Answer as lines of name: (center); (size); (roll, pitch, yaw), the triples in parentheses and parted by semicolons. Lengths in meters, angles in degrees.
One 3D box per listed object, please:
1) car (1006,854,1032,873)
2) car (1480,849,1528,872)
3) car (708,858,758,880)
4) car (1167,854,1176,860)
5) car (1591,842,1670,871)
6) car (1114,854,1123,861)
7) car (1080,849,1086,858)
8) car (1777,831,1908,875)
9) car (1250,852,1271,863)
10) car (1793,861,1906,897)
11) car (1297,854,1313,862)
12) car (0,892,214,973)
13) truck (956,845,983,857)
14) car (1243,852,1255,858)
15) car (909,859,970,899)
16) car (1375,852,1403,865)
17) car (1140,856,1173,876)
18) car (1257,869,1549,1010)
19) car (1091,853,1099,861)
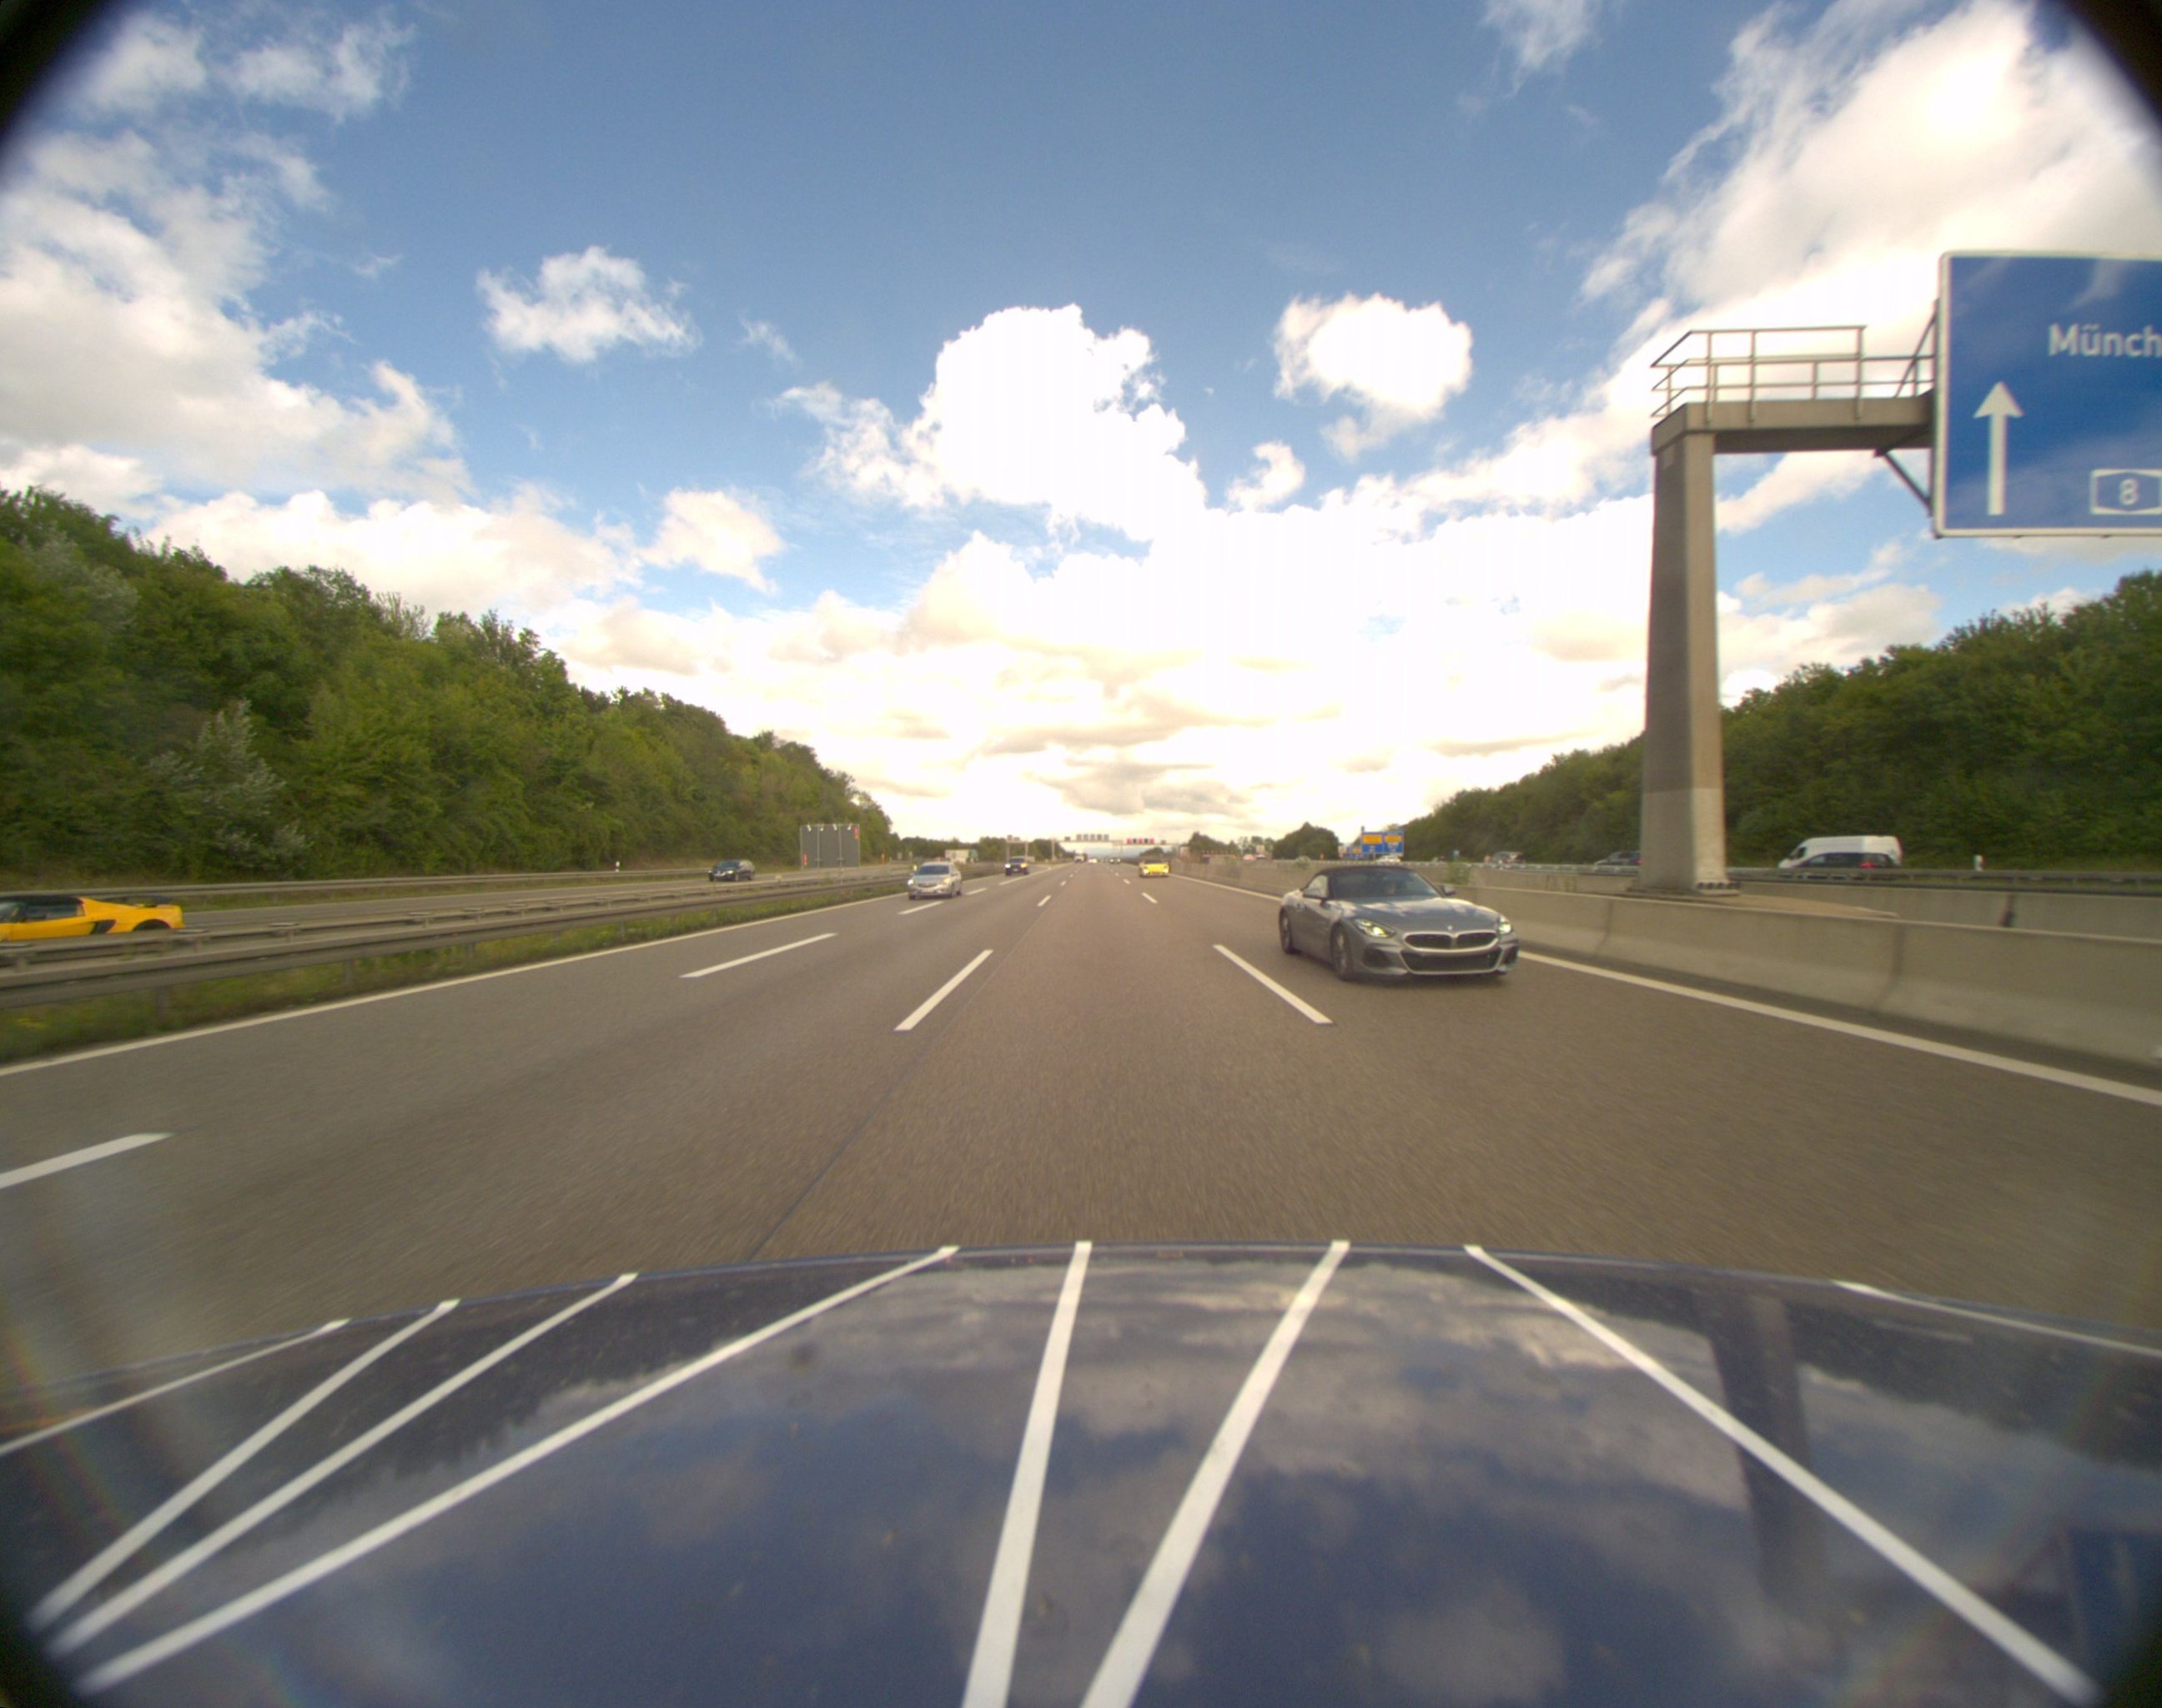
car: (-5.727, 0.812, 70.177); (1.876, 1.626, 4.859); (-1, 0, 1)
car: (38.796, 0.566, 69.800); (1.998, 2.002, 4.344); (-2, 0, 1)
car: (-23.859, 0.971, 52.190); (1.717, 1.407, 4.167); (-1, 0, -4)
car: (19.696, 0.720, 165.441); (1.647, 1.307, 4.247); (1, 0, 0)
car: (34.611, 0.137, 48.001); (1.856, 1.719, 4.426); (0, 0, 1)
car: (7.210, 0.662, 146.125); (1.593, 1.307, 3.978); (1, 0, 0)
car: (0.726, -0.169, 230.684); (1.854, 2.565, 5.412); (0, 0, 1)
car: (43.254, -0.067, 43.406); (1.998, 2.301, 5.685); (0, 0, 3)
car: (21.729, 0.377, 92.143); (1.647, 1.307, 4.247); (0, 0, 0)
car: (38.533, 1.214, 38.257); (1.662, 1.637, 4.000); (0, 0, 0)
car: (40.055, 0.717, 135.788); (1.647, 1.307, 4.247); (0, 0, 0)
car: (-18.392, 1.372, 13.244); (1.716, 1.175, 4.168); (-2, 0, 0)
truck: (-36.003, -0.975, 244.650); (2.975, 3.775, 13.427); (-2, 0, -36)
car: (36.567, 0.248, 165.284); (1.647, 1.307, 4.247); (0, 0, 0)
car: (-5.914, 1.004, 32.318); (1.687, 1.476, 4.615); (-1, 0, 0)
car: (35.845, 0.486, 88.467); (1.680, 1.508, 4.369); (0, 0, 2)
car: (5.177, 0.786, 52.529); (1.811, 1.307, 4.247); (1, 0, 0)
car: (3.860, 0.923, 10.230); (1.878, 1.295, 4.942); (-1, 0, 1)
car: (2.863, 0.552, 155.864); (1.736, 1.608, 4.000); (-1, 0, 1)
